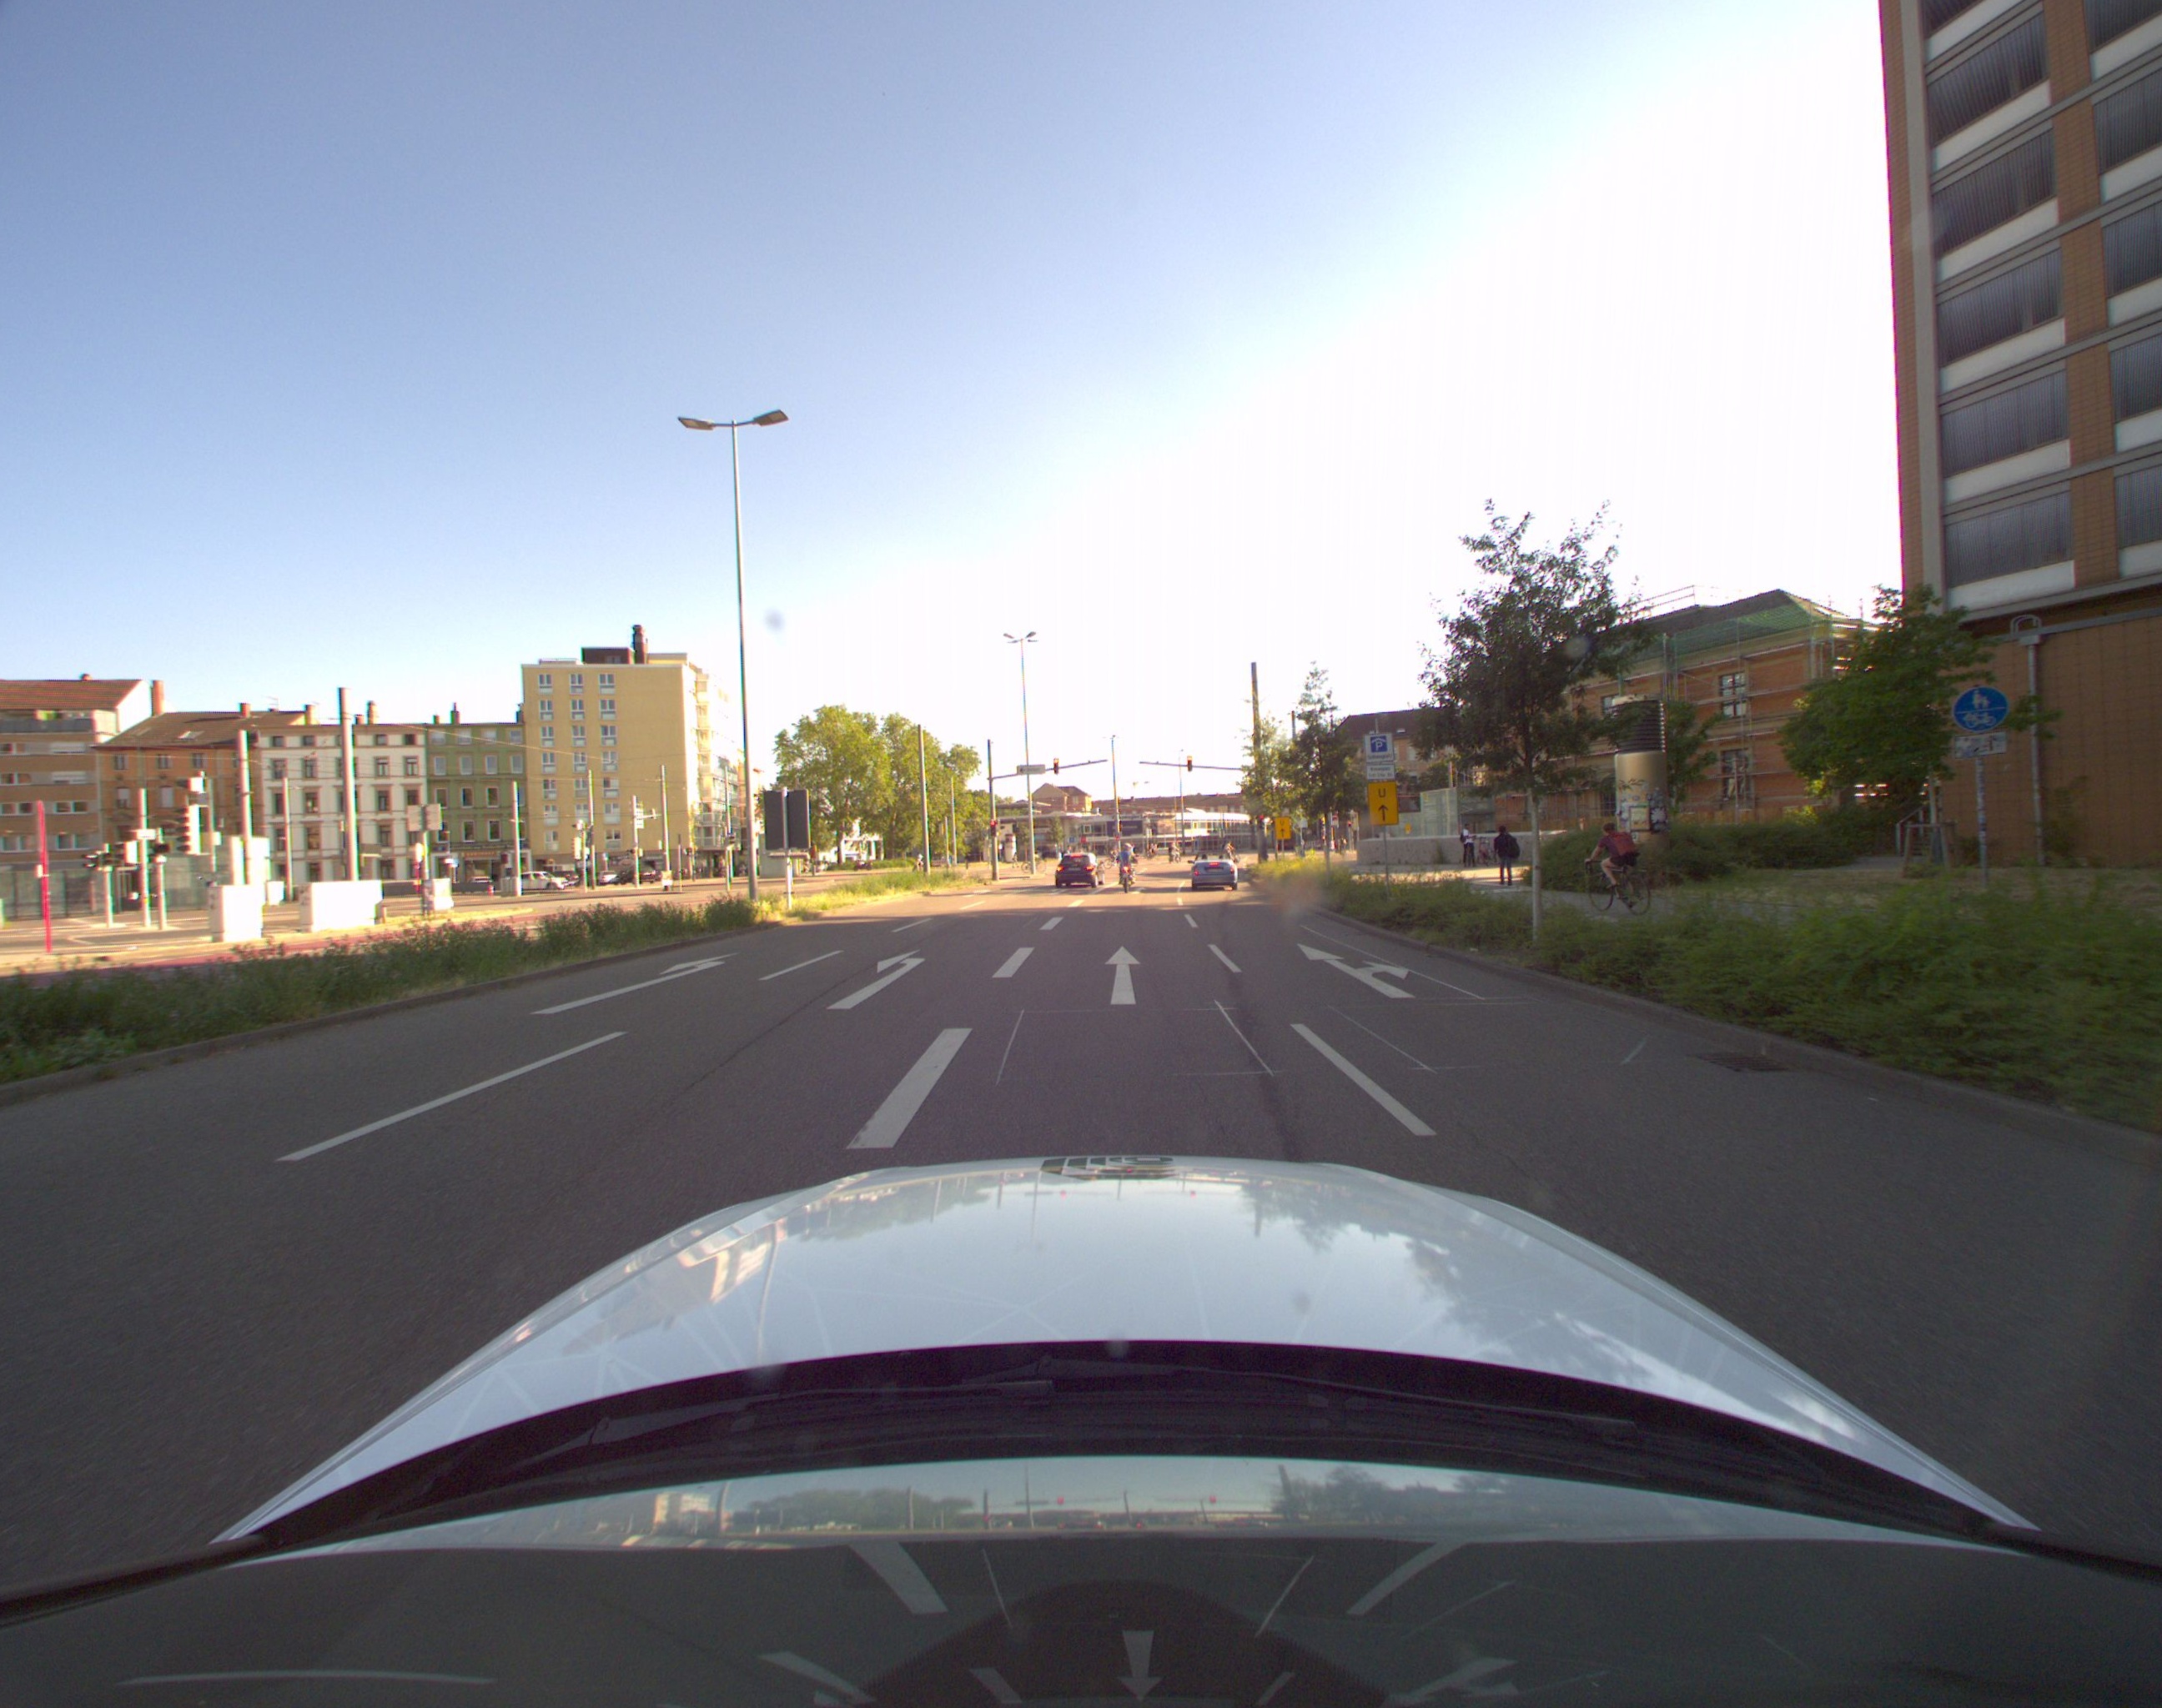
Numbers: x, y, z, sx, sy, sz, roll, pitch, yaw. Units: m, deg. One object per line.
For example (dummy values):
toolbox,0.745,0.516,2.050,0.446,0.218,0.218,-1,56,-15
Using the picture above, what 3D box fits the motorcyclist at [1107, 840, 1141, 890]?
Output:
motorcyclist,1.551,0.380,29.127,1.089,1.721,0.939,-1,0,9

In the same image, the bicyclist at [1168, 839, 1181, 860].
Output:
bicyclist,7.757,-0.364,67.455,0.849,1.690,0.655,0,2,40

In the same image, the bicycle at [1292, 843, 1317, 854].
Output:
bicycle,24.188,-0.605,88.157,2.436,1.003,0.961,-2,0,-7

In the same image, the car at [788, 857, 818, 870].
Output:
car,-42.137,1.425,123.275,4.009,1.857,1.837,-3,2,-27

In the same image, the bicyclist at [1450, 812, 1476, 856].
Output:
bicyclist,16.074,-0.837,34.288,0.781,1.786,0.898,-4,-1,16

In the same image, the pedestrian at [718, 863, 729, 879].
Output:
pedestrian,-38.770,1.883,88.308,0.775,1.676,0.780,-2,0,-9

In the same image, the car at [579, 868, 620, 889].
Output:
car,-44.944,2.295,75.939,3.948,1.748,1.852,0,2,37

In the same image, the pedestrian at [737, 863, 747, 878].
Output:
pedestrian,-36.908,1.783,88.561,0.775,1.676,0.780,-2,0,-9

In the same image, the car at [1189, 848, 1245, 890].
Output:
car,5.153,0.513,30.500,1.788,1.444,3.993,-1,0,13

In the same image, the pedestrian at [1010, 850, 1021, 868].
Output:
pedestrian,-7.122,0.533,88.162,0.984,1.816,0.922,-1,2,7

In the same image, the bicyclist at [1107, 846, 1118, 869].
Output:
bicyclist,2.286,0.254,59.431,0.648,1.690,0.859,-2,2,-3

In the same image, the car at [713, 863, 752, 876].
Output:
car,-42.013,1.836,98.227,3.993,1.422,1.804,-3,0,-14

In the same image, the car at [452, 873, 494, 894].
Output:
car,-55.482,2.677,74.287,3.958,1.719,2.100,0,2,39

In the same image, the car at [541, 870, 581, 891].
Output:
car,-48.125,2.425,75.329,3.949,1.719,1.851,0,2,39

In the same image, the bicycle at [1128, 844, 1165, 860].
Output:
bicycle,7.510,-0.269,93.569,3.987,1.689,1.135,-2,2,-10

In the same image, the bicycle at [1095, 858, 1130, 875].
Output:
bicycle,2.273,0.901,59.441,2.487,1.133,0.859,-2,2,-3

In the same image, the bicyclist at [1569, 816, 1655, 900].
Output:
bicyclist,9.111,0.076,14.018,0.718,1.384,1.075,-1,-1,-2

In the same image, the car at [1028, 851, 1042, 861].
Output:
car,-7.718,0.345,136.895,1.985,1.534,4.004,-2,2,3

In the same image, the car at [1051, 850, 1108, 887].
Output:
car,-0.014,0.571,34.593,1.790,1.444,3.988,-1,0,9

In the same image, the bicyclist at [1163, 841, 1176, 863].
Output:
bicyclist,7.283,-0.190,66.907,0.856,1.778,0.588,-2,0,41

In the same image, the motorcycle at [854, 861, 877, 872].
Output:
motorcycle,-23.341,1.350,88.265,2.281,1.054,0.686,-2,2,-5

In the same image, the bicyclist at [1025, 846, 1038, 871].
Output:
bicyclist,-3.474,0.304,57.244,0.746,1.690,0.856,-2,2,-13

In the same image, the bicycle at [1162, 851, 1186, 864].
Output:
bicycle,7.736,0.271,67.413,0.849,0.905,2.318,0,2,39

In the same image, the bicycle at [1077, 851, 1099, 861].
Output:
bicycle,0.805,0.241,91.827,2.295,0.979,0.858,-2,2,-8

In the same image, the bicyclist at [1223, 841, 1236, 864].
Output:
bicyclist,11.042,-0.108,60.531,0.648,1.690,0.858,-2,2,-7

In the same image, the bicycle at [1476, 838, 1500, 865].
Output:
bicycle,17.140,-0.122,34.287,0.620,1.039,1.976,-5,-1,34

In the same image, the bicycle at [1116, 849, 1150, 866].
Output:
bicycle,3.983,0.268,62.724,2.493,1.133,0.857,-2,2,-10

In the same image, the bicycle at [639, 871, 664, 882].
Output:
bicycle,-44.493,2.316,84.360,2.043,1.090,0.774,-3,0,-11

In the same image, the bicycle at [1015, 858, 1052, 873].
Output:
bicycle,-3.351,0.813,57.290,2.496,0.874,0.856,-2,2,-13

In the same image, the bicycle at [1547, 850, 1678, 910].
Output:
bicycle,9.115,0.433,14.113,0.718,0.952,2.247,-1,-1,-2

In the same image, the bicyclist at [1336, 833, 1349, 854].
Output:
bicyclist,20.685,-0.836,64.430,0.783,1.593,0.951,-4,-1,16

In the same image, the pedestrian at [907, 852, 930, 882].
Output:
pedestrian,-9.048,0.743,45.350,1.090,1.606,0.698,-2,2,-2

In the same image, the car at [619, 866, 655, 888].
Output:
car,-41.928,2.167,76.820,3.950,1.857,1.864,0,3,44

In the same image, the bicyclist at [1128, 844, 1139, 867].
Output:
bicyclist,4.044,0.129,62.733,0.649,1.690,0.857,-2,2,-9

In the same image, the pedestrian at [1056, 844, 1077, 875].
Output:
pedestrian,-0.808,0.302,44.919,0.832,1.671,0.692,-2,0,-31

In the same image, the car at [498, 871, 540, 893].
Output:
car,-51.653,2.545,74.854,3.958,1.719,2.100,0,2,39

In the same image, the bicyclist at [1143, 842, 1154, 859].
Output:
bicyclist,7.749,-0.398,93.651,1.070,1.900,1.119,-2,2,-10

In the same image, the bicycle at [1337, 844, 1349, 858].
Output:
bicycle,20.777,-0.269,64.518,0.783,1.039,1.971,-4,-1,17

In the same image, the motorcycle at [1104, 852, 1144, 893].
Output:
motorcycle,1.578,0.630,29.245,1.089,1.377,2.660,-1,0,10

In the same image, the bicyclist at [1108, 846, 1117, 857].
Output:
bicyclist,3.468,-0.301,89.084,0.714,1.142,0.833,-2,2,-17

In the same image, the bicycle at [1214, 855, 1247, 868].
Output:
bicycle,11.109,0.544,60.561,2.294,0.905,0.858,-2,2,-7

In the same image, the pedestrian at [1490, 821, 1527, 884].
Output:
pedestrian,11.577,-0.028,22.060,0.798,1.659,0.795,-2,0,24

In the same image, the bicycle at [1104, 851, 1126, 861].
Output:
bicycle,3.729,0.240,89.158,2.301,0.959,0.856,-3,2,-16

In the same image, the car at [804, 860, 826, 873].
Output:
car,-33.114,1.564,101.529,1.845,1.452,3.990,-2,0,-7

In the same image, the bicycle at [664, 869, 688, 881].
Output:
bicycle,-42.554,2.215,85.619,2.043,1.090,0.774,-3,0,-11

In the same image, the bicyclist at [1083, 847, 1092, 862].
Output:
bicyclist,0.733,0.064,91.818,0.923,1.559,0.858,-2,2,-9

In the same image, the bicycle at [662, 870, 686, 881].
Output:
bicycle,-42.354,2.237,84.797,2.043,1.090,0.774,-3,0,-11

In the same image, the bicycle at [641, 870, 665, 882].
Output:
bicycle,-44.733,2.293,85.198,2.043,1.090,0.774,-3,0,-11

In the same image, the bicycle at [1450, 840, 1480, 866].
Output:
bicycle,16.148,-0.040,34.320,0.783,1.039,1.971,-4,-1,17

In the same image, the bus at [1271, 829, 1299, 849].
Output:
bus,33.105,-2.455,131.886,2.332,2.882,9.637,-1,2,26

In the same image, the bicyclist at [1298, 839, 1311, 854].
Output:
bicyclist,24.186,-0.780,88.159,0.923,1.559,0.961,-2,0,-7

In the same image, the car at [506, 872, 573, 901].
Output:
car,-42.078,2.516,63.371,3.736,2.013,1.993,-2,2,-11
